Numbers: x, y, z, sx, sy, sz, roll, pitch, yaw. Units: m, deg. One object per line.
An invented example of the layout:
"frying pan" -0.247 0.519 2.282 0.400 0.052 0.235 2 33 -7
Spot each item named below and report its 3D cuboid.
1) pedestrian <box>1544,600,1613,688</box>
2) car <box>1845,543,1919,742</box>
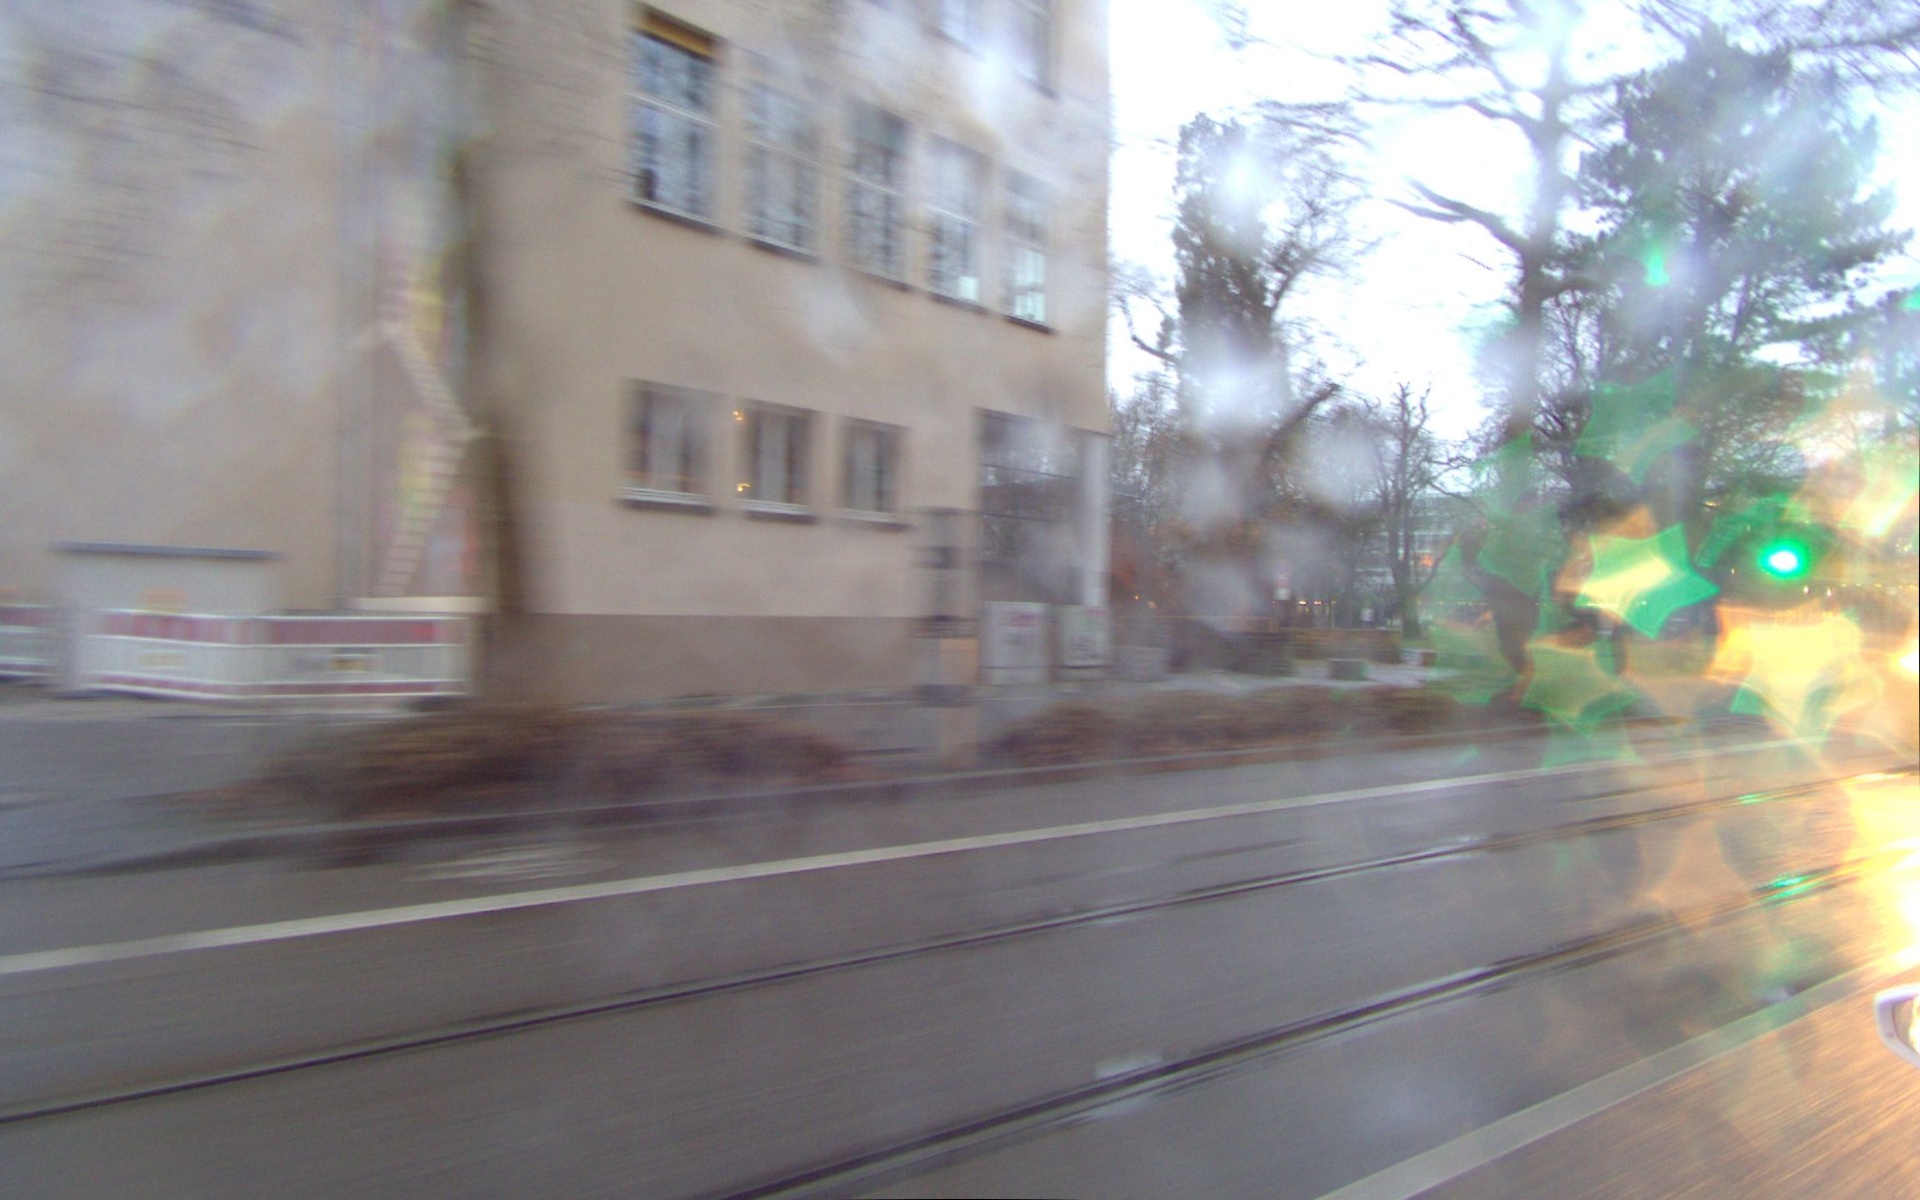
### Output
"pedestrian" 13.341 0.944 21.675 0.997 1.839 0.817 2 0 -27
"car" 14.231 0.587 13.050 5.776 2.378 2.435 2 -1 -30
